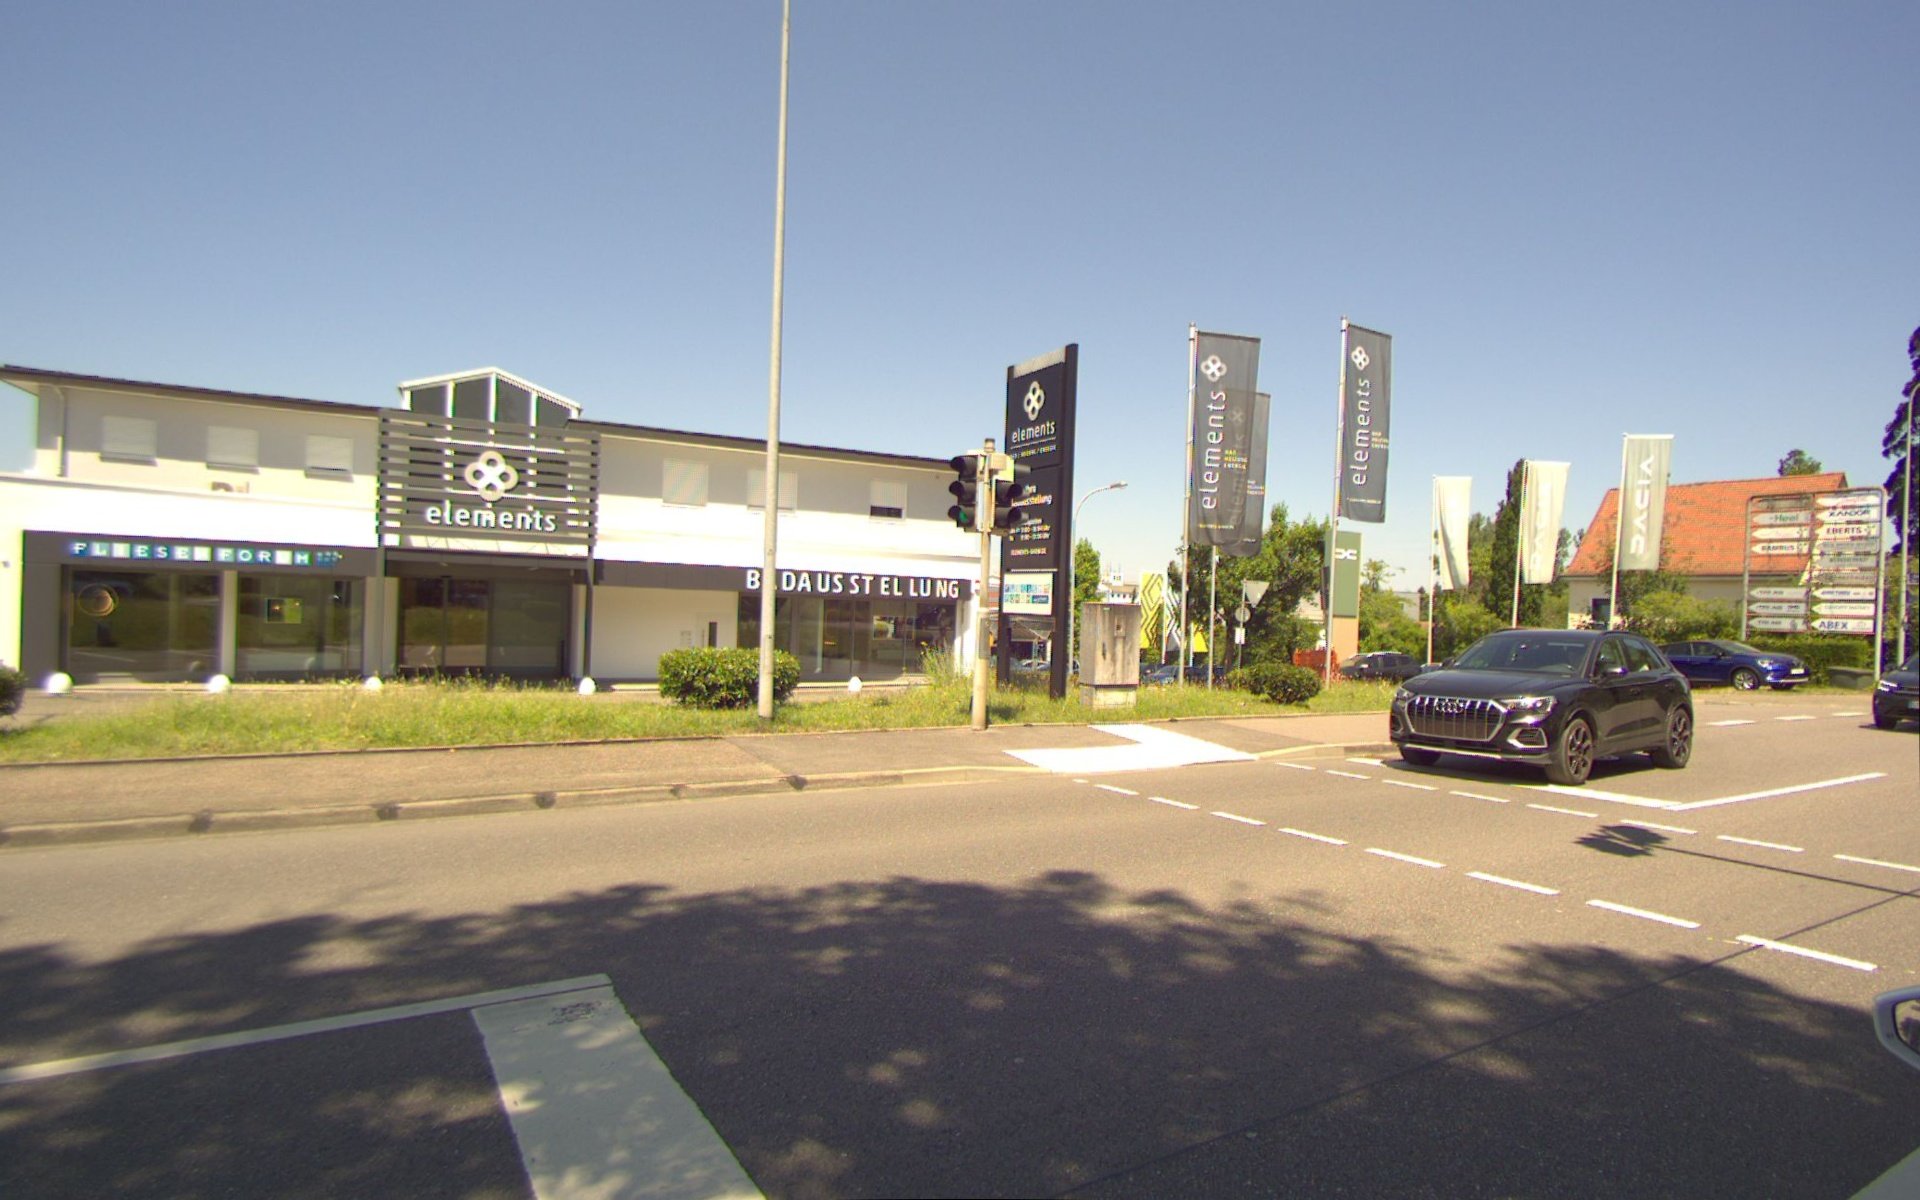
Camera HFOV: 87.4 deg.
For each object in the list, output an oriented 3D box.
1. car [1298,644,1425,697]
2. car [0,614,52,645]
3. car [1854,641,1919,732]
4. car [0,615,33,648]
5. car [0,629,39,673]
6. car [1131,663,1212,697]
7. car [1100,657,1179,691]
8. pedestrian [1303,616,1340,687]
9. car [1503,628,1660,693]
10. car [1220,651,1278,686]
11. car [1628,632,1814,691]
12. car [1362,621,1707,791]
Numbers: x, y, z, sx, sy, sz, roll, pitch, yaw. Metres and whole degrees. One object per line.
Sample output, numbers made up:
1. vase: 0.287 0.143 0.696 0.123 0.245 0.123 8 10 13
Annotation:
1. car: 14.727 2.589 36.899 4.022 1.744 1.809 2 0 -15
2. car: -56.014 1.716 58.921 3.726 1.778 1.719 2 -1 -28
3. car: 17.981 1.553 18.095 4.011 1.526 1.858 2 -1 -34
4. car: -54.833 1.734 56.361 3.726 1.778 1.719 2 -1 -28
5. car: -41.626 2.115 42.367 3.726 1.778 1.719 2 -1 -28
6. car: 9.777 3.660 46.293 3.836 1.434 1.634 3 -1 -40
7. car: 8.745 3.555 48.690 3.973 1.505 1.735 3 -1 -44
8. pedestrian: 9.209 1.302 25.573 0.689 1.785 0.545 2 -1 -3
9. car: 19.137 1.806 31.211 2.023 1.750 4.457 -2 -1 -1
10. car: 16.174 3.775 56.146 1.785 1.744 4.075 2 -1 36
11. car: 22.528 1.791 29.928 1.751 1.524 4.129 2 -1 -20
12. car: 6.710 1.099 11.584 4.263 1.576 1.912 3 -1 -37
